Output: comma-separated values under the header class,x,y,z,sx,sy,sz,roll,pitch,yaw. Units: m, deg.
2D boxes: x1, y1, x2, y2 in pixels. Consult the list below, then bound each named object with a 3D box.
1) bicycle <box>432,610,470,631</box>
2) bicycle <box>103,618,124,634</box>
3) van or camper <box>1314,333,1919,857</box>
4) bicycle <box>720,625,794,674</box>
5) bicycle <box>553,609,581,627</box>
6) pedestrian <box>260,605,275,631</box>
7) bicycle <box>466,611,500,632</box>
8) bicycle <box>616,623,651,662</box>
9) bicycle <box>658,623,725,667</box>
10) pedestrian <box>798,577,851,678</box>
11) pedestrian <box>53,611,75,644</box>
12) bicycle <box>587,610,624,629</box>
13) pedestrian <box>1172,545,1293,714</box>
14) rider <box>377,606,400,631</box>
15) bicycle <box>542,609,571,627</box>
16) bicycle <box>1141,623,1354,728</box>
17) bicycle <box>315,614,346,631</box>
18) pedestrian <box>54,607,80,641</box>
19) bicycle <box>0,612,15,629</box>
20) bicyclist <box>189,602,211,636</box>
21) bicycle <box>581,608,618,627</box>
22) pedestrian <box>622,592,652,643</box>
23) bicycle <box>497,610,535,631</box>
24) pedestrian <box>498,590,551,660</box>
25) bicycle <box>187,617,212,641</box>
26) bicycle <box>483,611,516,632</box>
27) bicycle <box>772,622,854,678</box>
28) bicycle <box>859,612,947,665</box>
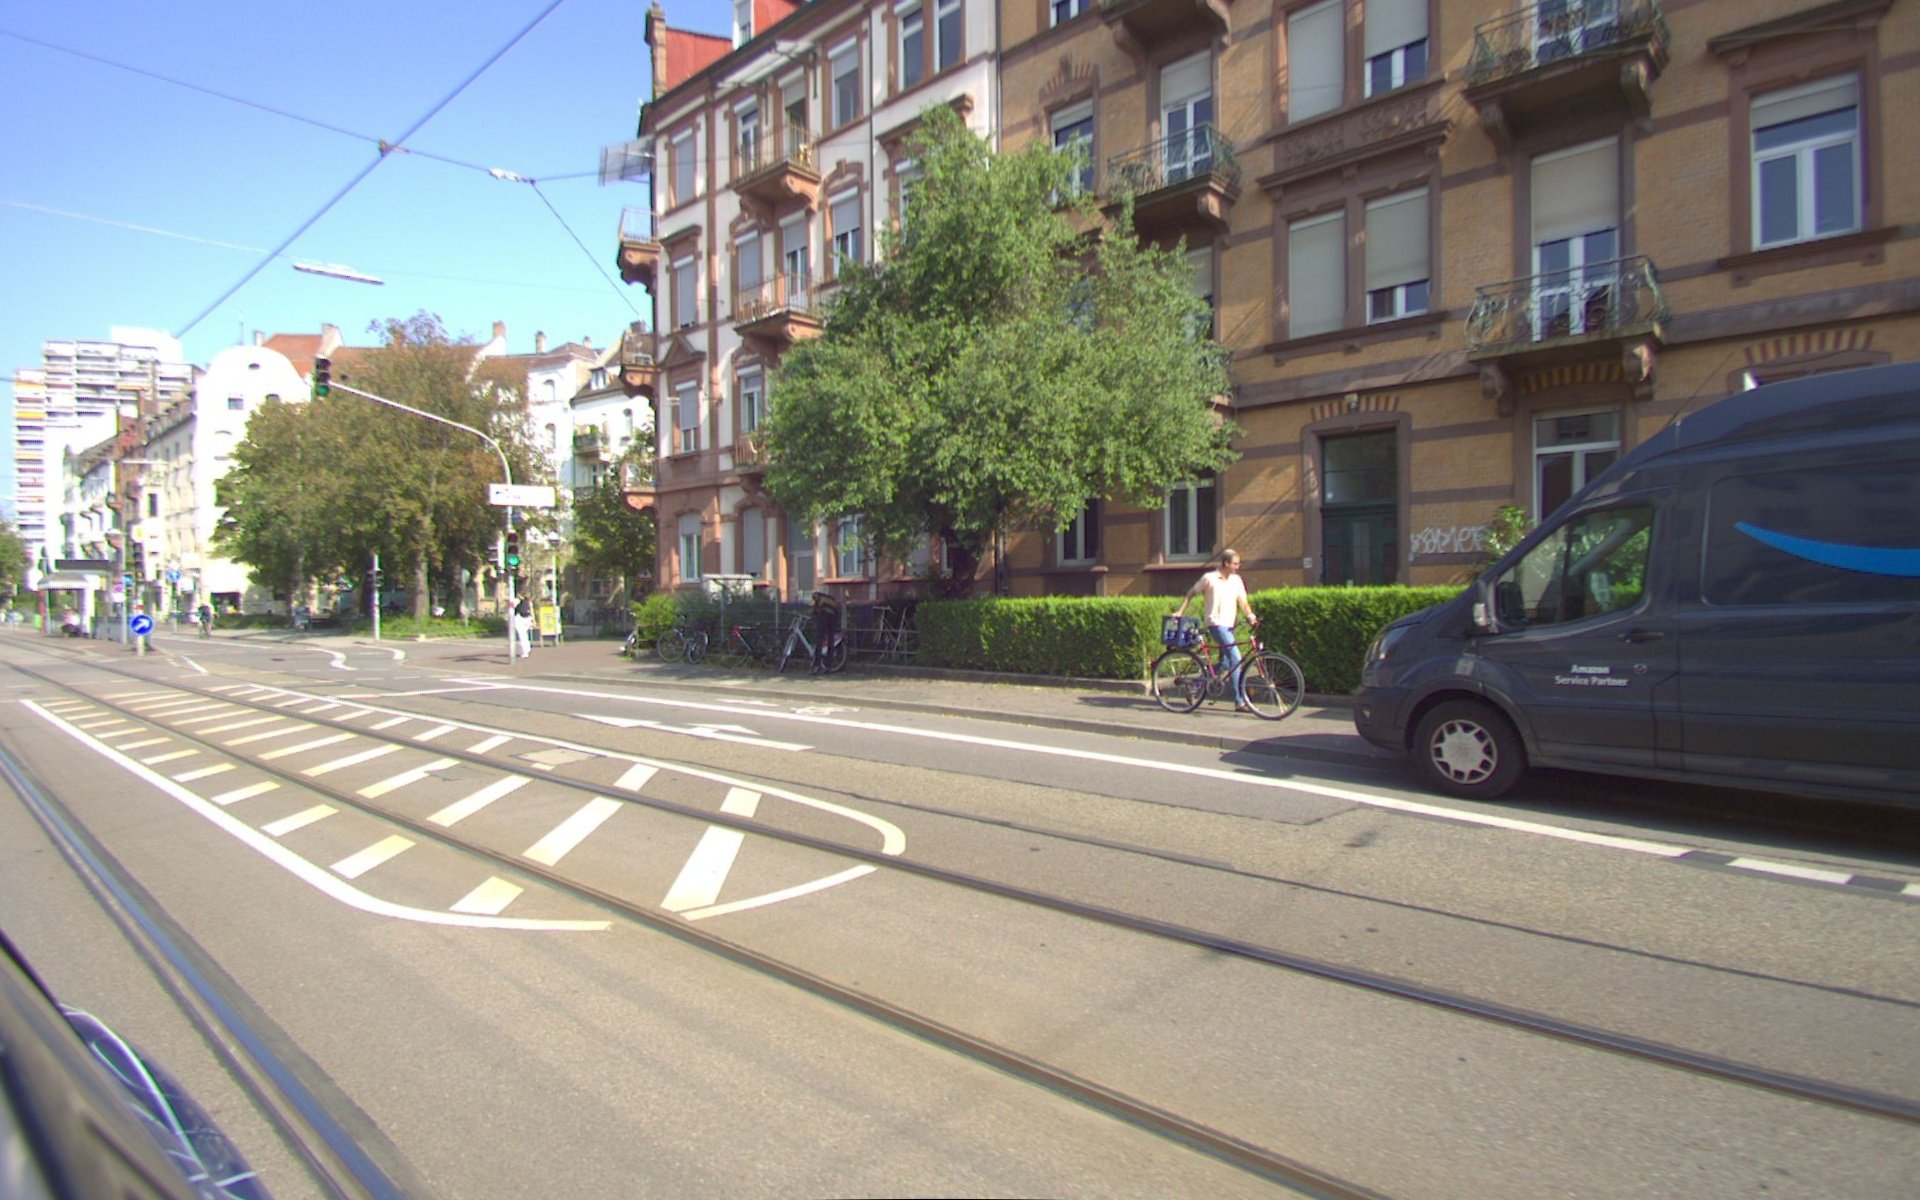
class,x,y,z,sx,sy,sz,roll,pitch,yaw
bicycle,-35.477,1.418,70.603,0.864,1.381,2.279,-1,0,31
bicycle,-63.656,1.959,76.100,1.889,1.112,0.540,-1,0,30
van or camper,5.442,-0.025,6.055,2.025,2.664,6.099,0,0,-40
bicycle,-3.847,0.919,19.127,0.520,0.866,1.703,-1,0,-44
bicycle,-25.695,1.168,66.163,2.332,1.112,0.648,-1,0,40
pedestrian,-50.014,1.301,73.105,0.672,1.882,0.726,-1,0,39
bicycle,-32.741,1.487,69.530,0.859,1.381,2.293,-1,0,13
bicycle,-7.898,1.020,24.511,0.519,0.866,1.832,-1,0,-9
bicycle,-5.701,0.931,21.413,0.520,0.866,1.829,-1,0,-44
pedestrian,-2.340,0.469,17.458,0.631,1.691,0.632,-1,0,31
pedestrian,-40.089,1.225,45.277,0.718,1.467,0.669,-1,0,43
bicycle,-21.960,1.201,62.777,2.059,1.112,0.658,-1,0,-40
pedestrian,3.098,0.322,11.525,1.092,1.820,0.720,-1,0,41
rider,-36.418,1.155,64.515,0.983,1.523,1.115,-2,1,-44
bicycle,-26.168,1.184,65.576,2.332,1.112,0.764,-1,0,40
bicycle,3.039,0.761,10.897,2.150,1.014,0.612,-1,0,42
bicycle,-44.300,1.568,71.272,0.687,1.087,2.342,-1,1,0
pedestrian,-39.313,1.035,44.548,0.718,1.467,0.784,-1,0,43
bicycle,-108.505,2.290,114.974,3.550,1.872,1.003,-1,2,37
bicyclist,-36.832,0.900,49.036,1.045,1.626,0.665,-1,0,45
bicycle,-22.680,1.092,63.663,2.059,1.112,0.658,-1,0,-40
pedestrian,-10.275,0.538,32.219,0.828,1.582,0.948,-1,0,-14
bicycle,-30.046,1.387,68.565,0.864,1.381,2.280,-1,0,30
pedestrian,-11.414,0.649,26.491,0.894,1.779,1.186,-1,0,-44
bicycle,-36.865,1.409,49.073,2.070,1.112,0.676,-1,0,45
bicycle,-31.469,1.435,69.197,0.859,1.381,2.293,-1,0,13
bicycle,-2.626,0.865,17.953,0.520,0.934,1.703,-1,0,-44
bicycle,-1.017,0.676,18.236,0.528,0.866,1.678,-1,0,43
